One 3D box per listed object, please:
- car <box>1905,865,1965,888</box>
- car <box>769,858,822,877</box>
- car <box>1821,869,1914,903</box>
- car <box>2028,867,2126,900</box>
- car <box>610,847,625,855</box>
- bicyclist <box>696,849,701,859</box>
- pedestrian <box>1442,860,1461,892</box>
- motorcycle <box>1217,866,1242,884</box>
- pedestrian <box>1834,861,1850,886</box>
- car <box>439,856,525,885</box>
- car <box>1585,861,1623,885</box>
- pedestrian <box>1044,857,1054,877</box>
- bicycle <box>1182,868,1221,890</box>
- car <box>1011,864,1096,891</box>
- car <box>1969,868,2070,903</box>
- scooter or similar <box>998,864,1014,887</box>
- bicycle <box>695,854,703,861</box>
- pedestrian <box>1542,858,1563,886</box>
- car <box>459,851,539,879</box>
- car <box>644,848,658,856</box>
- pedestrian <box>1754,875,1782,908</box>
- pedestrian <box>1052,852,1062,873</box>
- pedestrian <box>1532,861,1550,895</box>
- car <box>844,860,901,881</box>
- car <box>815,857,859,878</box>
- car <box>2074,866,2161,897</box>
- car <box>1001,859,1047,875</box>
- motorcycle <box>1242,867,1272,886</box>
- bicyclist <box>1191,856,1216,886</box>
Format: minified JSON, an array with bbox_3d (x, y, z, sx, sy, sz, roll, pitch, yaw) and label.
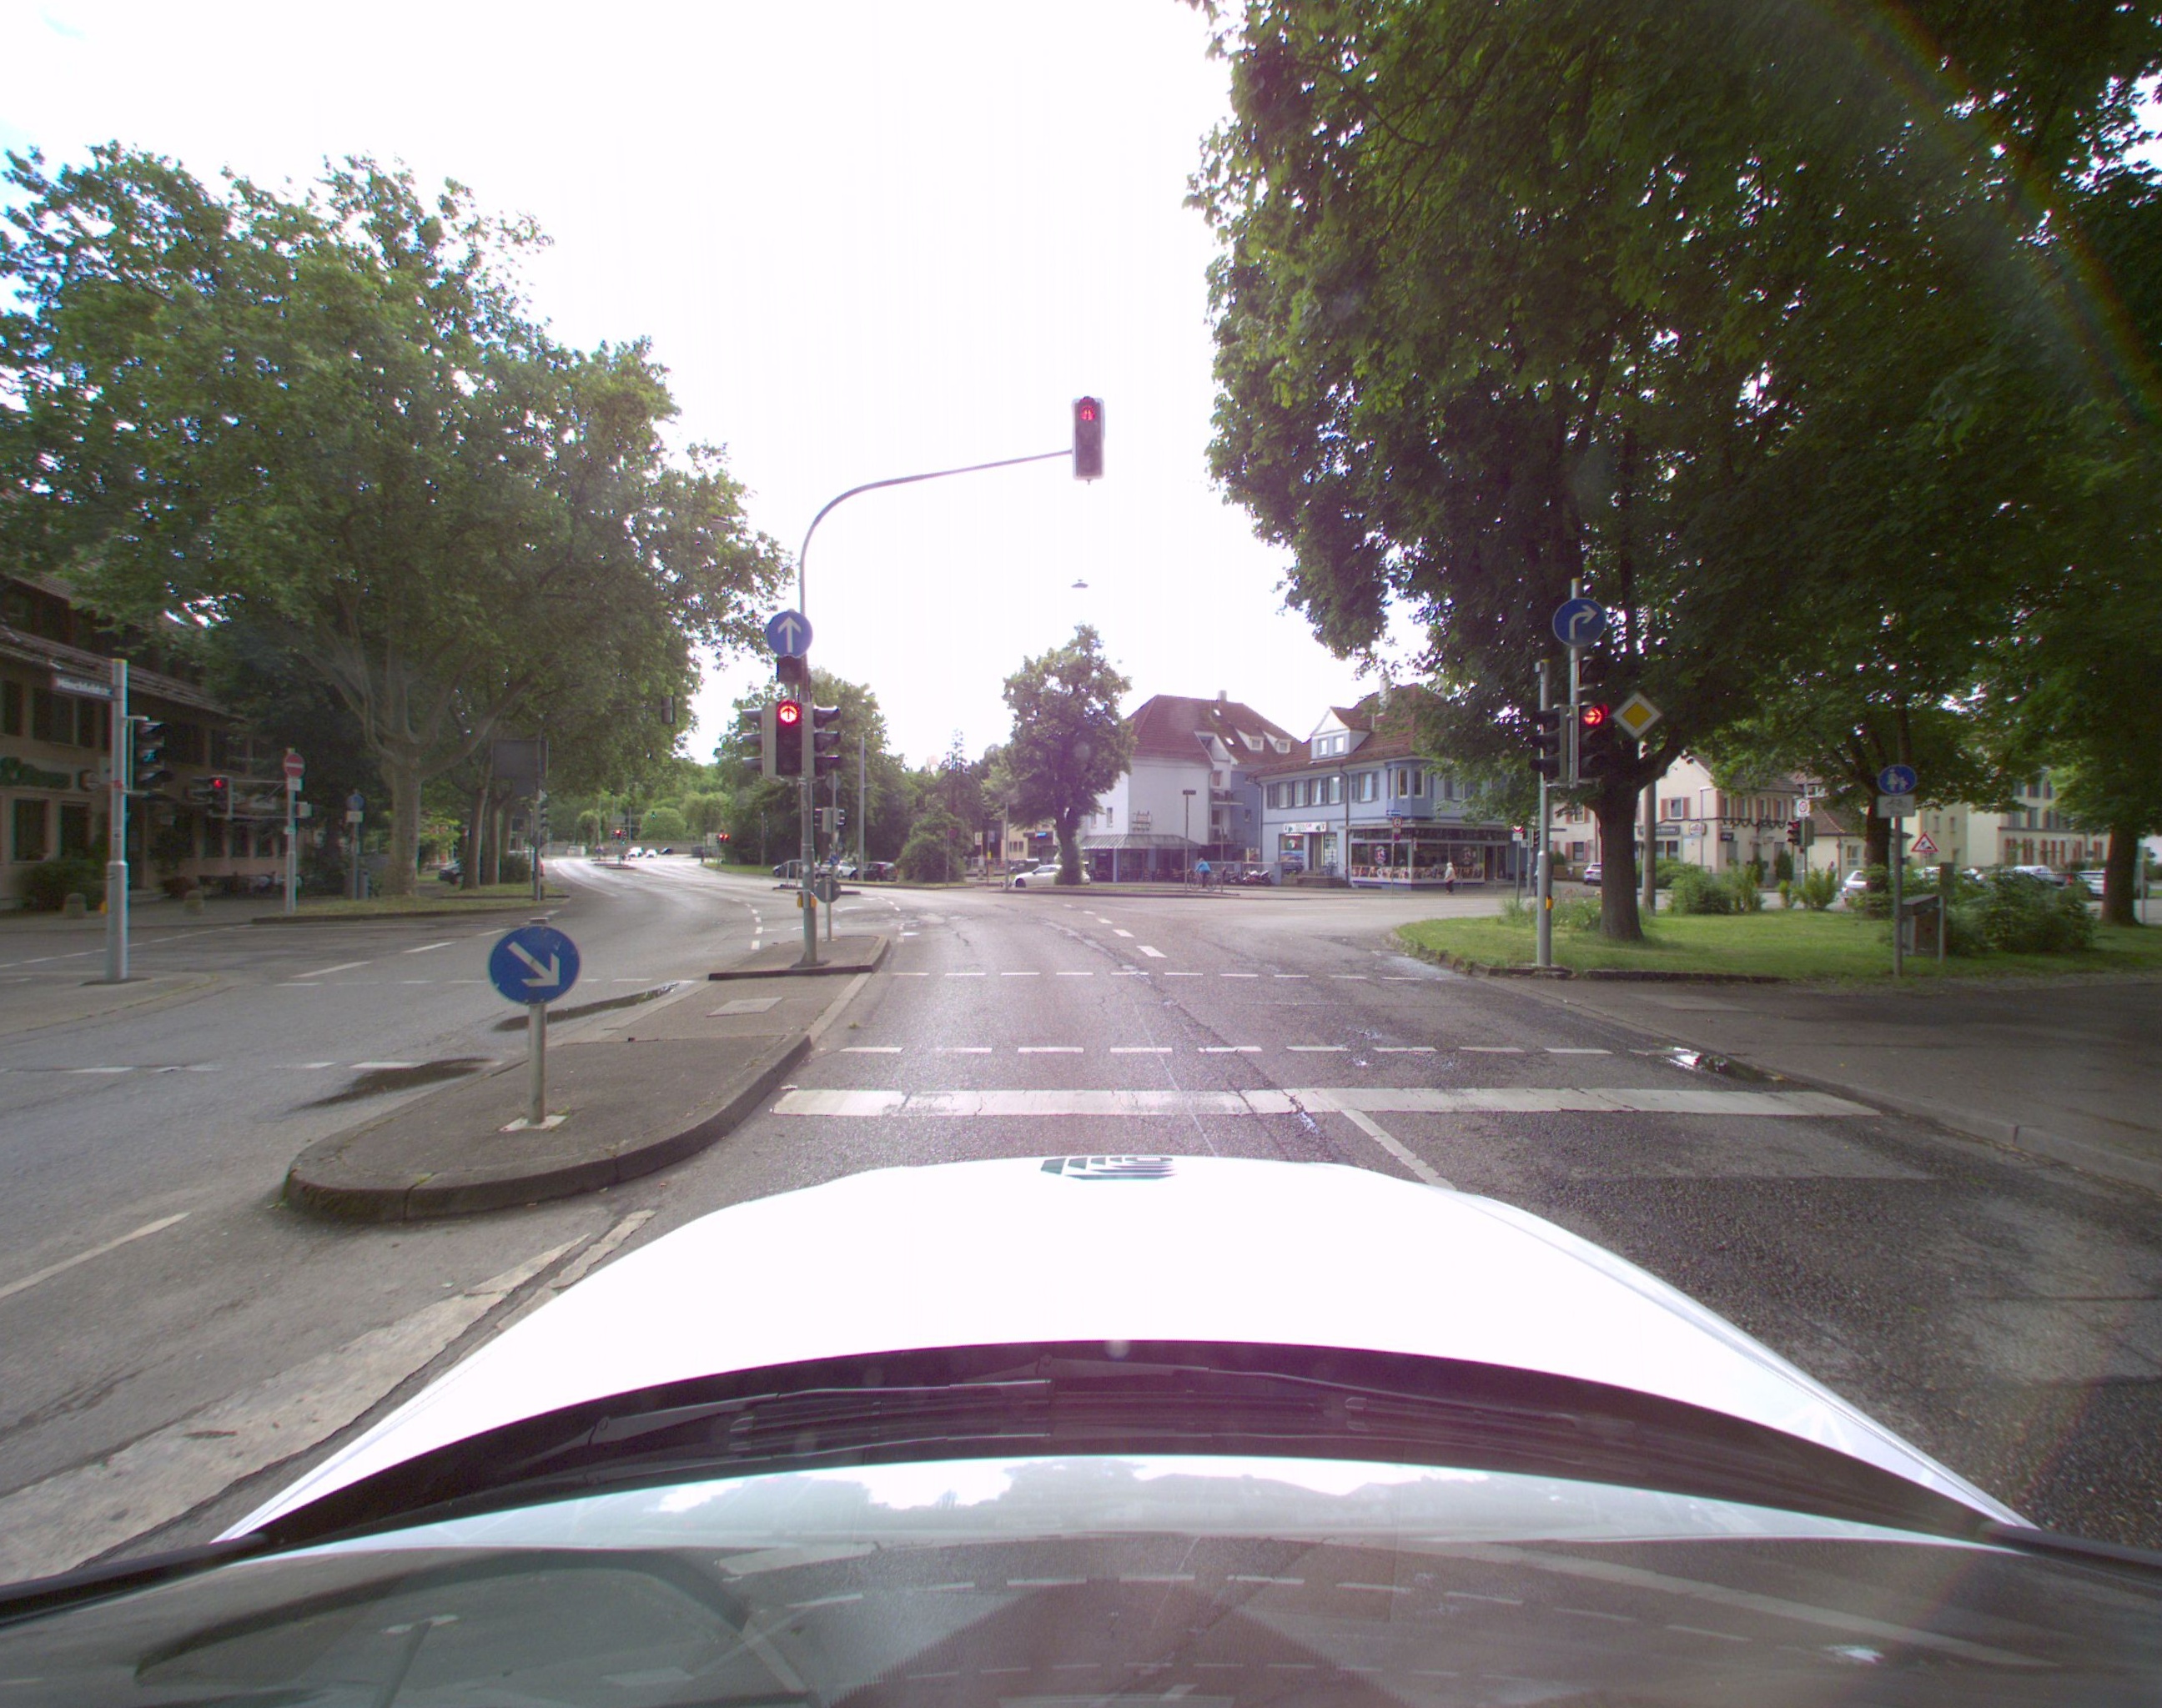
[{"bbox_3d":[56.476,1.450,53.831,3.871,1.447,1.753,0,-1,-28],"label":"car"},{"bbox_3d":[-22.589,1.026,64.516,3.742,1.465,1.629,0,0,20],"label":"car"},{"bbox_3d":[31.897,1.269,33.049,3.007,1.267,1.455,0,-1,-17],"label":"car"},{"bbox_3d":[47.080,1.371,38.516,3.731,1.457,1.640,0,0,-17],"label":"car"},{"bbox_3d":[-87.098,-0.533,152.985,3.293,1.486,1.594,-1,-2,43],"label":"car"},{"bbox_3d":[-51.810,-0.013,110.296,0.540,1.342,0.711,0,-1,-14],"label":"bicyclist"},{"bbox_3d":[17.933,1.058,39.380,0.724,1.560,0.773,-1,-1,33],"label":"pedestrian"},{"bbox_3d":[9.135,1.308,50.047,1.441,1.088,0.527,-1,-1,37],"label":"motorcycle"},{"bbox_3d":[48.565,1.241,51.972,0.504,1.560,0.507,0,-1,-13],"label":"pedestrian"},{"bbox_3d":[-35.630,0.955,48.607,4.015,1.684,1.979,0,-1,-34],"label":"car"},{"bbox_3d":[32.458,1.141,50.620,1.866,1.391,3.637,0,0,31],"label":"car"},{"bbox_3d":[-3.228,1.297,81.080,0.838,2.014,1.051,0,-1,-12],"label":"pedestrian"},{"bbox_3d":[6.617,1.358,44.703,1.928,1.149,0.882,-1,-1,41],"label":"bicycle"},{"bbox_3d":[-1.595,1.285,45.933,4.654,1.410,1.914,0,-1,37],"label":"car"},{"bbox_3d":[42.346,1.380,36.753,3.731,1.457,1.640,0,0,-17],"label":"car"},{"bbox_3d":[-3.952,1.139,42.846,0.439,1.175,1.442,-1,-1,11],"label":"scooter or similar"},{"bbox_3d":[-51.828,0.528,110.419,0.557,0.958,2.024,0,0,-13],"label":"bicycle"},{"bbox_3d":[26.333,0.987,45.512,0.671,1.560,0.743,0,-1,-13],"label":"pedestrian"},{"bbox_3d":[-36.460,0.679,51.176,4.015,1.684,1.979,0,-1,-34],"label":"car"},{"bbox_3d":[-83.035,-0.427,157.370,2.988,1.417,1.509,-1,-2,43],"label":"car"},{"bbox_3d":[22.795,1.250,27.027,0.505,1.081,0.514,0,-1,-13],"label":"pedestrian"},{"bbox_3d":[-1.750,0.618,59.449,0.538,1.560,0.470,-1,-1,15],"label":"pedestrian"},{"bbox_3d":[21.293,1.088,37.707,0.687,1.560,0.671,-1,-1,33],"label":"pedestrian"},{"bbox_3d":[-13.826,1.054,54.001,3.285,1.352,1.791,0,0,29],"label":"car"},{"bbox_3d":[-20.135,1.084,67.407,1.848,1.640,3.768,0,0,13],"label":"car"},{"bbox_3d":[52.596,1.371,41.254,3.731,1.457,1.640,0,0,-17],"label":"car"},{"bbox_3d":[-5.320,1.233,75.917,3.948,1.442,1.742,0,0,-18],"label":"car"},{"bbox_3d":[10.428,1.318,48.245,1.609,1.088,0.631,-1,-1,34],"label":"motorcycle"},{"bbox_3d":[6.720,0.924,44.625,0.976,1.651,0.924,-1,-1,40],"label":"bicyclist"}]
